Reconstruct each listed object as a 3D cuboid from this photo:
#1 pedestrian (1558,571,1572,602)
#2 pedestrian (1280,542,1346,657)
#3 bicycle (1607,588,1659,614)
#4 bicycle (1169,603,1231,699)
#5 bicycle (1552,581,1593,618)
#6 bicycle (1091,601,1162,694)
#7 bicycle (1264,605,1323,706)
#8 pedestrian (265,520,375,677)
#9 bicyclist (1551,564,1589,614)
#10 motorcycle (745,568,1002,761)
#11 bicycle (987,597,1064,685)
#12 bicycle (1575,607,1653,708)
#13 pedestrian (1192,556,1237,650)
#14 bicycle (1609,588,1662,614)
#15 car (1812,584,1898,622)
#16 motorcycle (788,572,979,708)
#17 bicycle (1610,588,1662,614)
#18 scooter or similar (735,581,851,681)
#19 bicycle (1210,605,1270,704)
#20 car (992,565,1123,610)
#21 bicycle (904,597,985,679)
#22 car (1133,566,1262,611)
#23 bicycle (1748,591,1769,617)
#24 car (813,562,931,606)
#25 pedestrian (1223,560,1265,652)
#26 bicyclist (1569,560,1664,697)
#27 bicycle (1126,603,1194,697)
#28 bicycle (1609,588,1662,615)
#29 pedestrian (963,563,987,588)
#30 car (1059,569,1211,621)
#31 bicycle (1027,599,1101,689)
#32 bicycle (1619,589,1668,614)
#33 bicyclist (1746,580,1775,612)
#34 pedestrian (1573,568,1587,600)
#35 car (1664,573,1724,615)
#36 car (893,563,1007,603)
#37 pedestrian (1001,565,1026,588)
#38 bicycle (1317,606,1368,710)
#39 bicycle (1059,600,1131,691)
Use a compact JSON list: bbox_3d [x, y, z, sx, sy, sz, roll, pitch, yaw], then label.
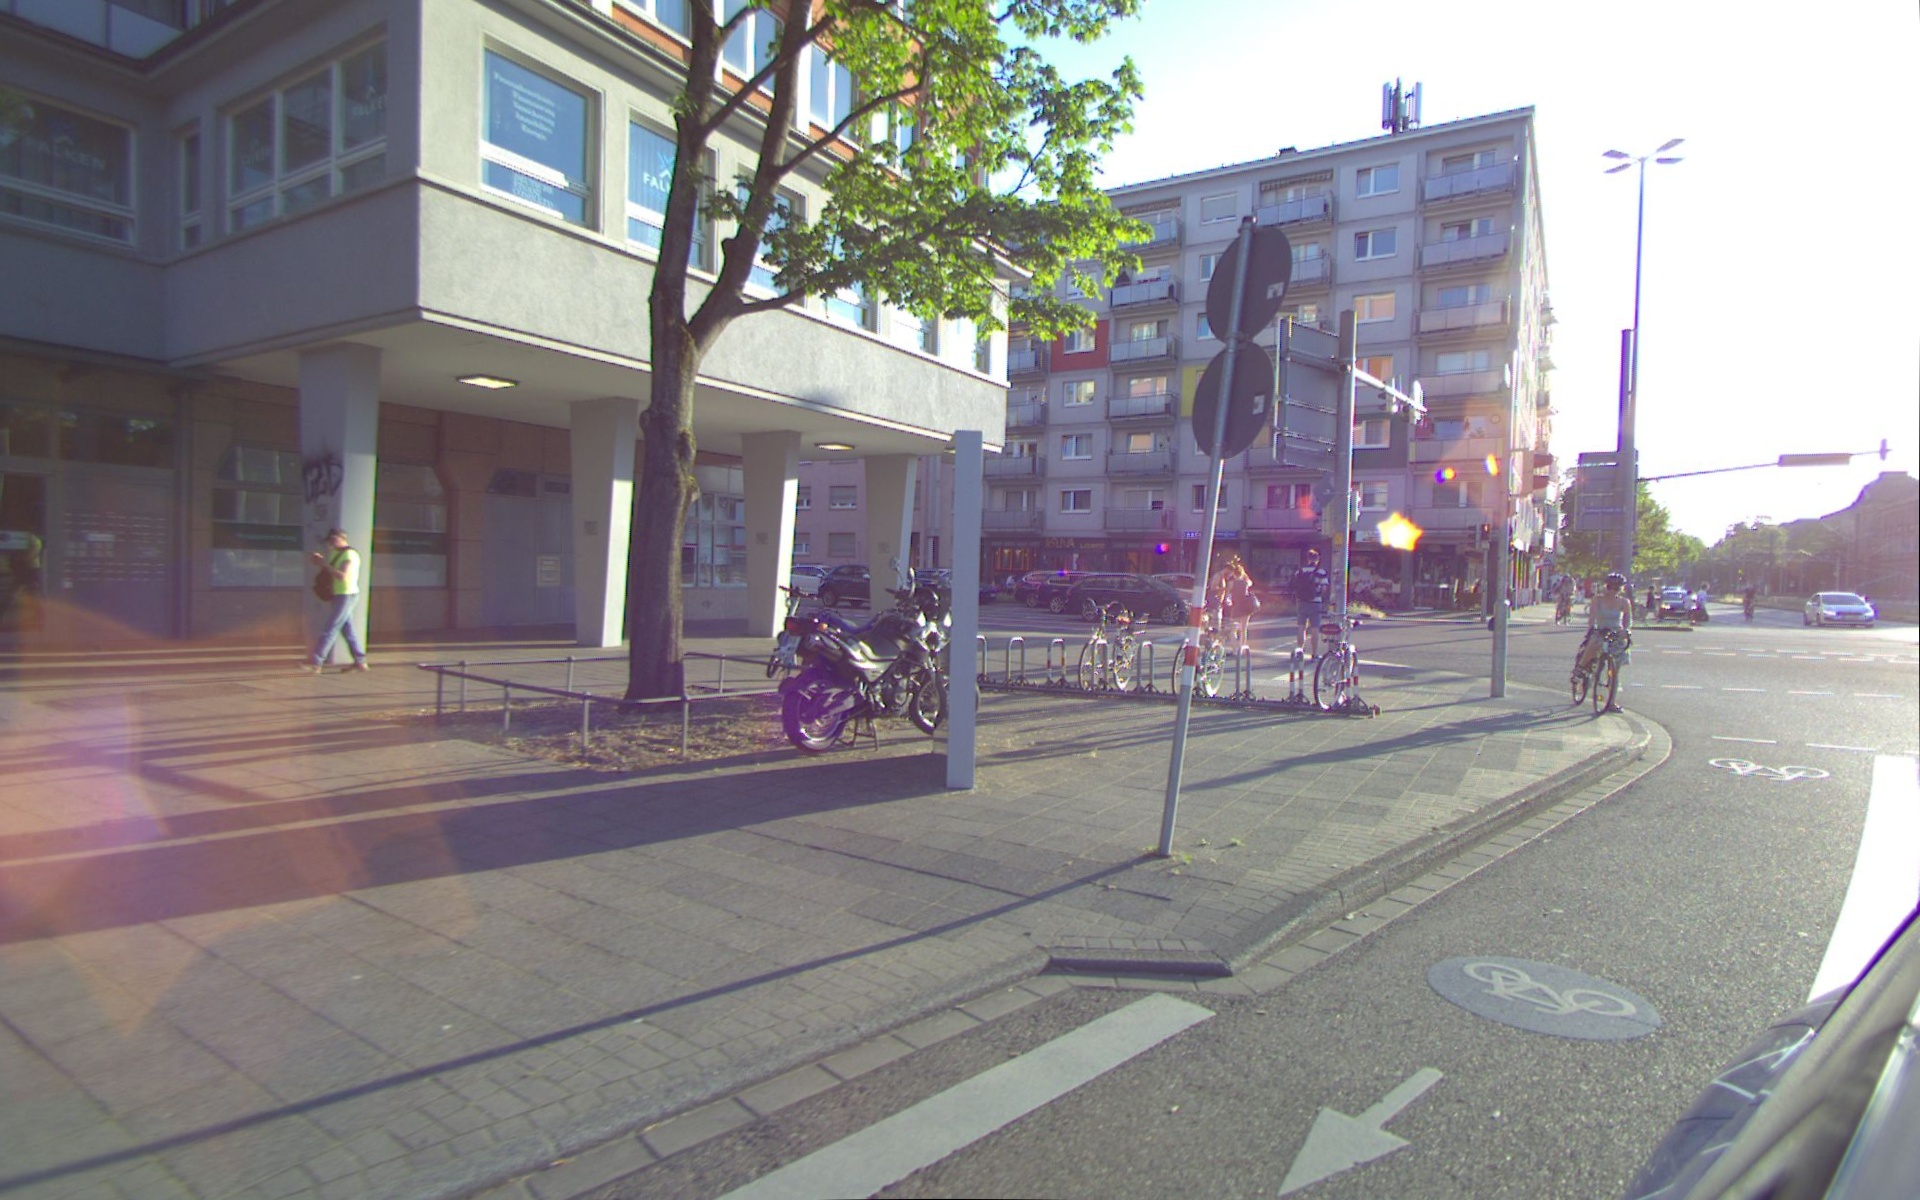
[{"bbox_3d":[40.313,-0.904,67.438,0.713,2.039,0.639,1,1,33],"label":"pedestrian"},{"bbox_3d":[6.248,-0.015,17.950,0.831,1.981,0.703,1,1,-4],"label":"pedestrian"},{"bbox_3d":[30.723,0.020,46.196,1.946,1.134,0.452,1,1,36],"label":"bicycle"},{"bbox_3d":[2.912,0.574,12.191,0.365,1.040,1.779,1,1,25],"label":"bicycle"},{"bbox_3d":[19.871,-0.021,32.828,1.936,1.197,0.490,0,1,-39],"label":"bicycle"},{"bbox_3d":[2.081,0.551,12.504,0.357,1.040,1.778,1,1,26],"label":"bicycle"},{"bbox_3d":[3.840,0.589,11.582,0.357,1.040,1.777,1,1,27],"label":"bicycle"},{"bbox_3d":[-7.444,-0.035,11.789,0.650,1.746,0.868,2,1,31],"label":"pedestrian"},{"bbox_3d":[19.675,-0.368,32.632,0.720,1.587,0.822,0,1,-38],"label":"bicyclist"},{"bbox_3d":[-0.625,0.444,8.153,0.641,1.361,2.167,1,1,44],"label":"motorcycle"},{"bbox_3d":[0.870,0.497,13.083,0.361,1.040,1.779,1,1,25],"label":"bicycle"},{"bbox_3d":[7.547,0.616,11.728,0.510,1.040,1.779,1,1,25],"label":"bicycle"},{"bbox_3d":[4.767,0.043,18.949,0.515,1.714,0.762,2,2,36],"label":"pedestrian"},{"bbox_3d":[30.197,0.031,45.226,1.946,1.134,0.452,1,1,36],"label":"bicycle"},{"bbox_3d":[37.621,0.090,42.623,1.940,1.512,3.917,1,1,30],"label":"car"},{"bbox_3d":[-0.868,0.388,11.141,2.132,1.371,0.636,1,1,32],"label":"motorcycle"},{"bbox_3d":[30.493,0.029,45.662,1.946,1.134,0.452,1,1,36],"label":"bicycle"},{"bbox_3d":[-2.211,0.399,13.490,1.496,1.279,0.309,0,0,-31],"label":"scooter or similar"},{"bbox_3d":[3.291,0.589,11.814,0.357,1.040,1.778,1,1,26],"label":"bicycle"},{"bbox_3d":[3.402,-0.462,35.620,4.221,1.487,1.972,1,1,39],"label":"car"},{"bbox_3d":[-0.181,0.486,13.949,0.361,1.040,1.779,1,1,25],"label":"bicycle"},{"bbox_3d":[8.334,-0.423,35.665,3.992,1.487,1.893,1,1,39],"label":"car"},{"bbox_3d":[39.123,0.191,49.616,0.571,1.215,2.180,1,1,32],"label":"bicycle"},{"bbox_3d":[-3.153,-0.597,36.153,3.894,1.469,1.784,2,1,31],"label":"car"},{"bbox_3d":[5.223,0.095,18.631,0.515,1.665,0.698,1,1,36],"label":"pedestrian"},{"bbox_3d":[7.508,0.304,11.609,0.790,1.499,0.800,1,0,25],"label":"bicyclist"},{"bbox_3d":[2.457,0.567,12.294,0.357,1.040,1.778,1,1,26],"label":"bicycle"},{"bbox_3d":[29.767,0.051,44.617,1.946,1.134,0.452,1,1,36],"label":"bicycle"},{"bbox_3d":[0.810,-1.351,55.983,0.887,1.313,1.048,0,1,-31],"label":"pedestrian"},{"bbox_3d":[5.303,-0.201,30.735,4.159,1.443,1.910,1,3,33],"label":"car"},{"bbox_3d":[1.358,0.525,12.896,0.361,1.040,1.779,1,1,25],"label":"bicycle"},{"bbox_3d":[32.721,0.076,48.463,1.946,1.134,0.452,1,1,36],"label":"bicycle"},{"bbox_3d":[39.041,-0.191,49.350,0.989,1.557,0.912,1,1,32],"label":"bicyclist"},{"bbox_3d":[40.915,-1.053,66.798,0.651,2.039,0.742,3,-1,34],"label":"pedestrian"},{"bbox_3d":[38.112,-0.332,52.625,1.982,2.039,3.960,1,1,28],"label":"car"},{"bbox_3d":[-0.441,-0.709,41.548,4.506,1.514,1.686,2,1,33],"label":"car"},{"bbox_3d":[2.875,-1.250,54.177,0.887,1.181,1.048,0,1,-31],"label":"pedestrian"},{"bbox_3d":[4.286,0.600,11.300,0.357,1.040,1.778,1,1,26],"label":"bicycle"},{"bbox_3d":[1.718,0.531,12.692,0.361,1.040,1.779,1,1,25],"label":"bicycle"}]
